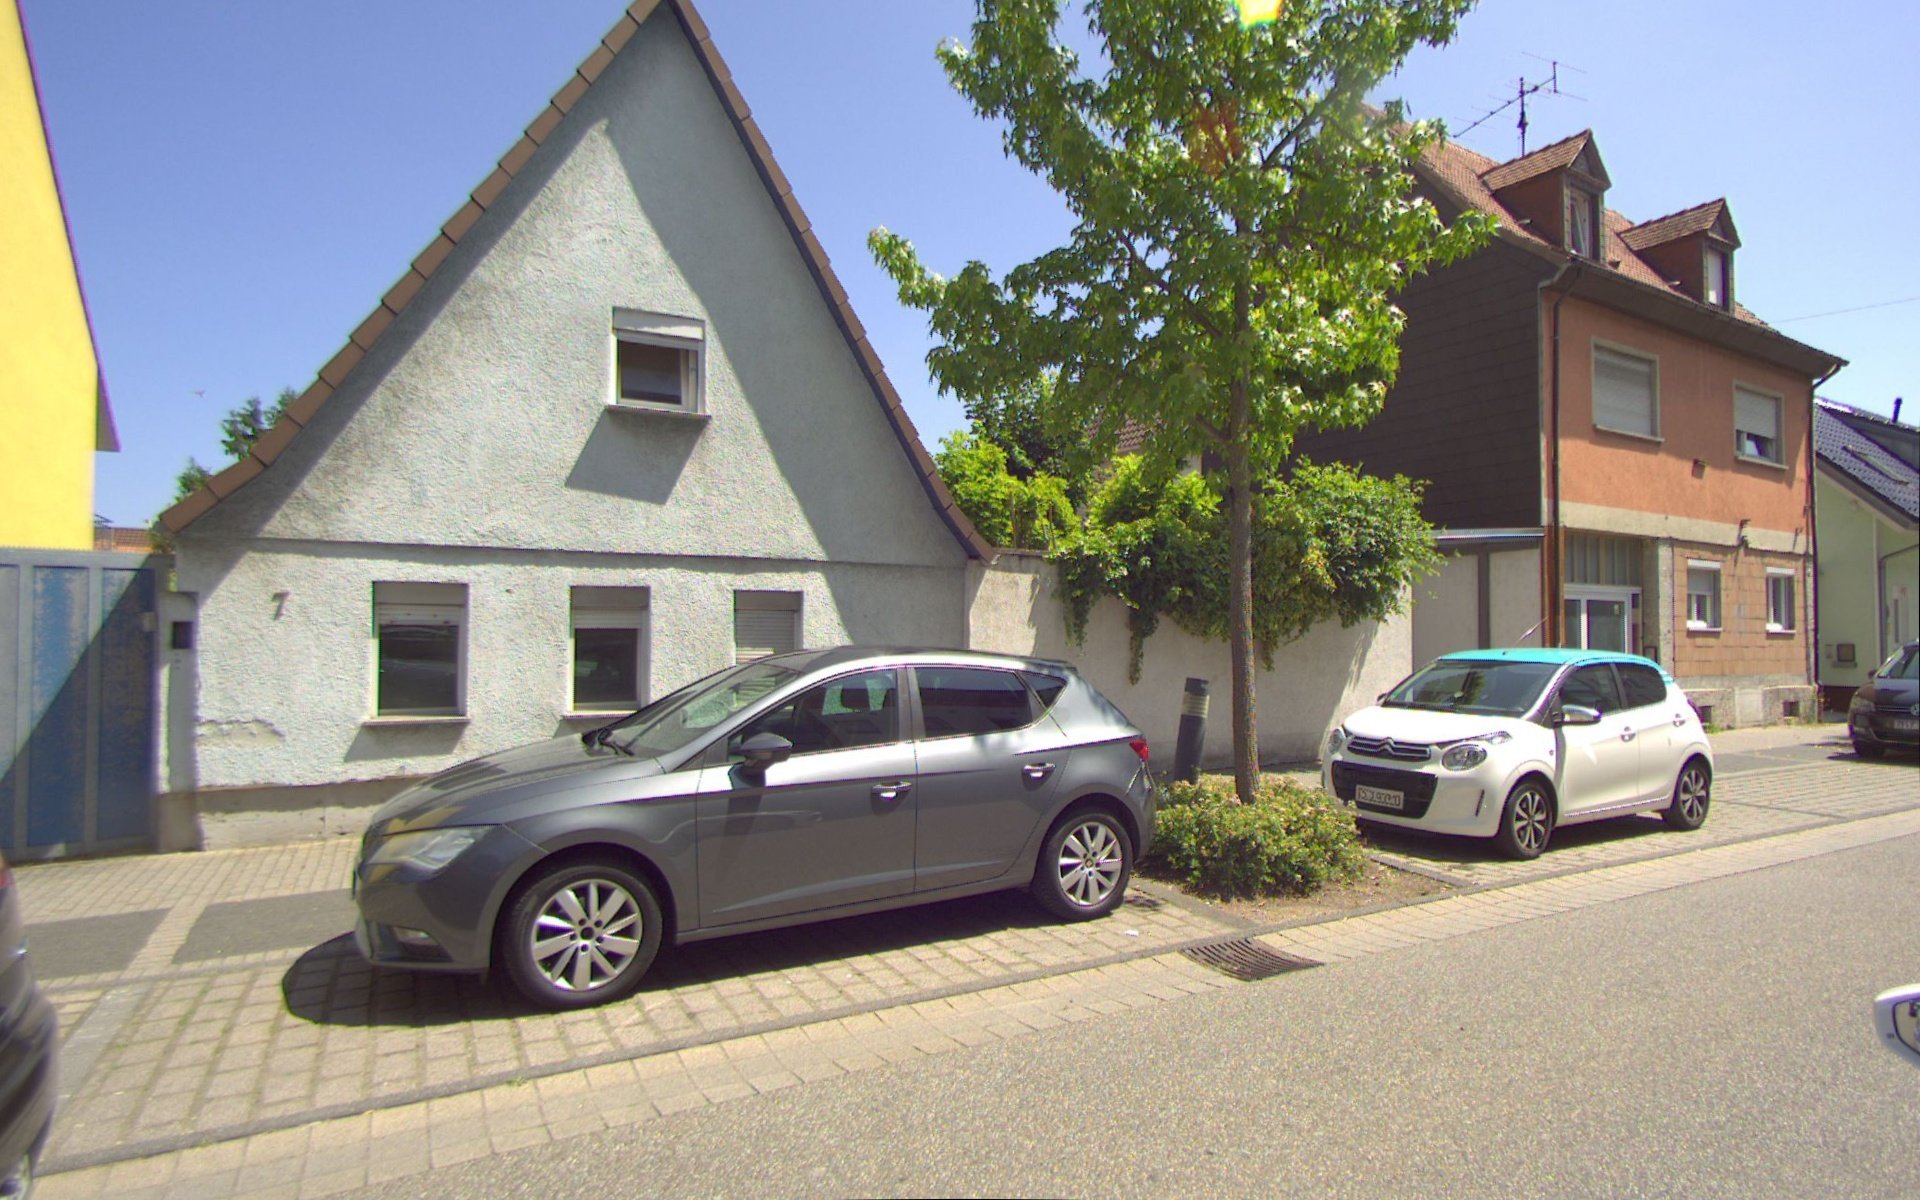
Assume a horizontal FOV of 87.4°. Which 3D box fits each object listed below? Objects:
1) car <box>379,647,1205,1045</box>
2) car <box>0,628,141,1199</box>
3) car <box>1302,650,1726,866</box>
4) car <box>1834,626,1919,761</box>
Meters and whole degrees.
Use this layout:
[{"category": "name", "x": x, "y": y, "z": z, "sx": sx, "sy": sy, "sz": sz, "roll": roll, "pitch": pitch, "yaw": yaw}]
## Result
[{"category": "car", "x": -0.766, "y": 0.992, "z": 5.427, "sx": 4.050, "sy": 1.448, "sz": 1.638, "roll": 2, "pitch": -4, "yaw": -30}, {"category": "car", "x": -3.354, "y": 0.755, "z": 0.769, "sx": 3.953, "sy": 1.491, "sz": 1.681, "roll": 2, "pitch": -3, "yaw": -31}, {"category": "car", "x": 4.613, "y": 1.142, "z": 8.315, "sx": 3.369, "sy": 1.449, "sz": 1.547, "roll": 2, "pitch": -3, "yaw": -30}, {"category": "car", "x": 14.314, "y": 1.258, "z": 14.145, "sx": 4.469, "sy": 1.748, "sz": 1.766, "roll": 1, "pitch": -3, "yaw": -32}]
